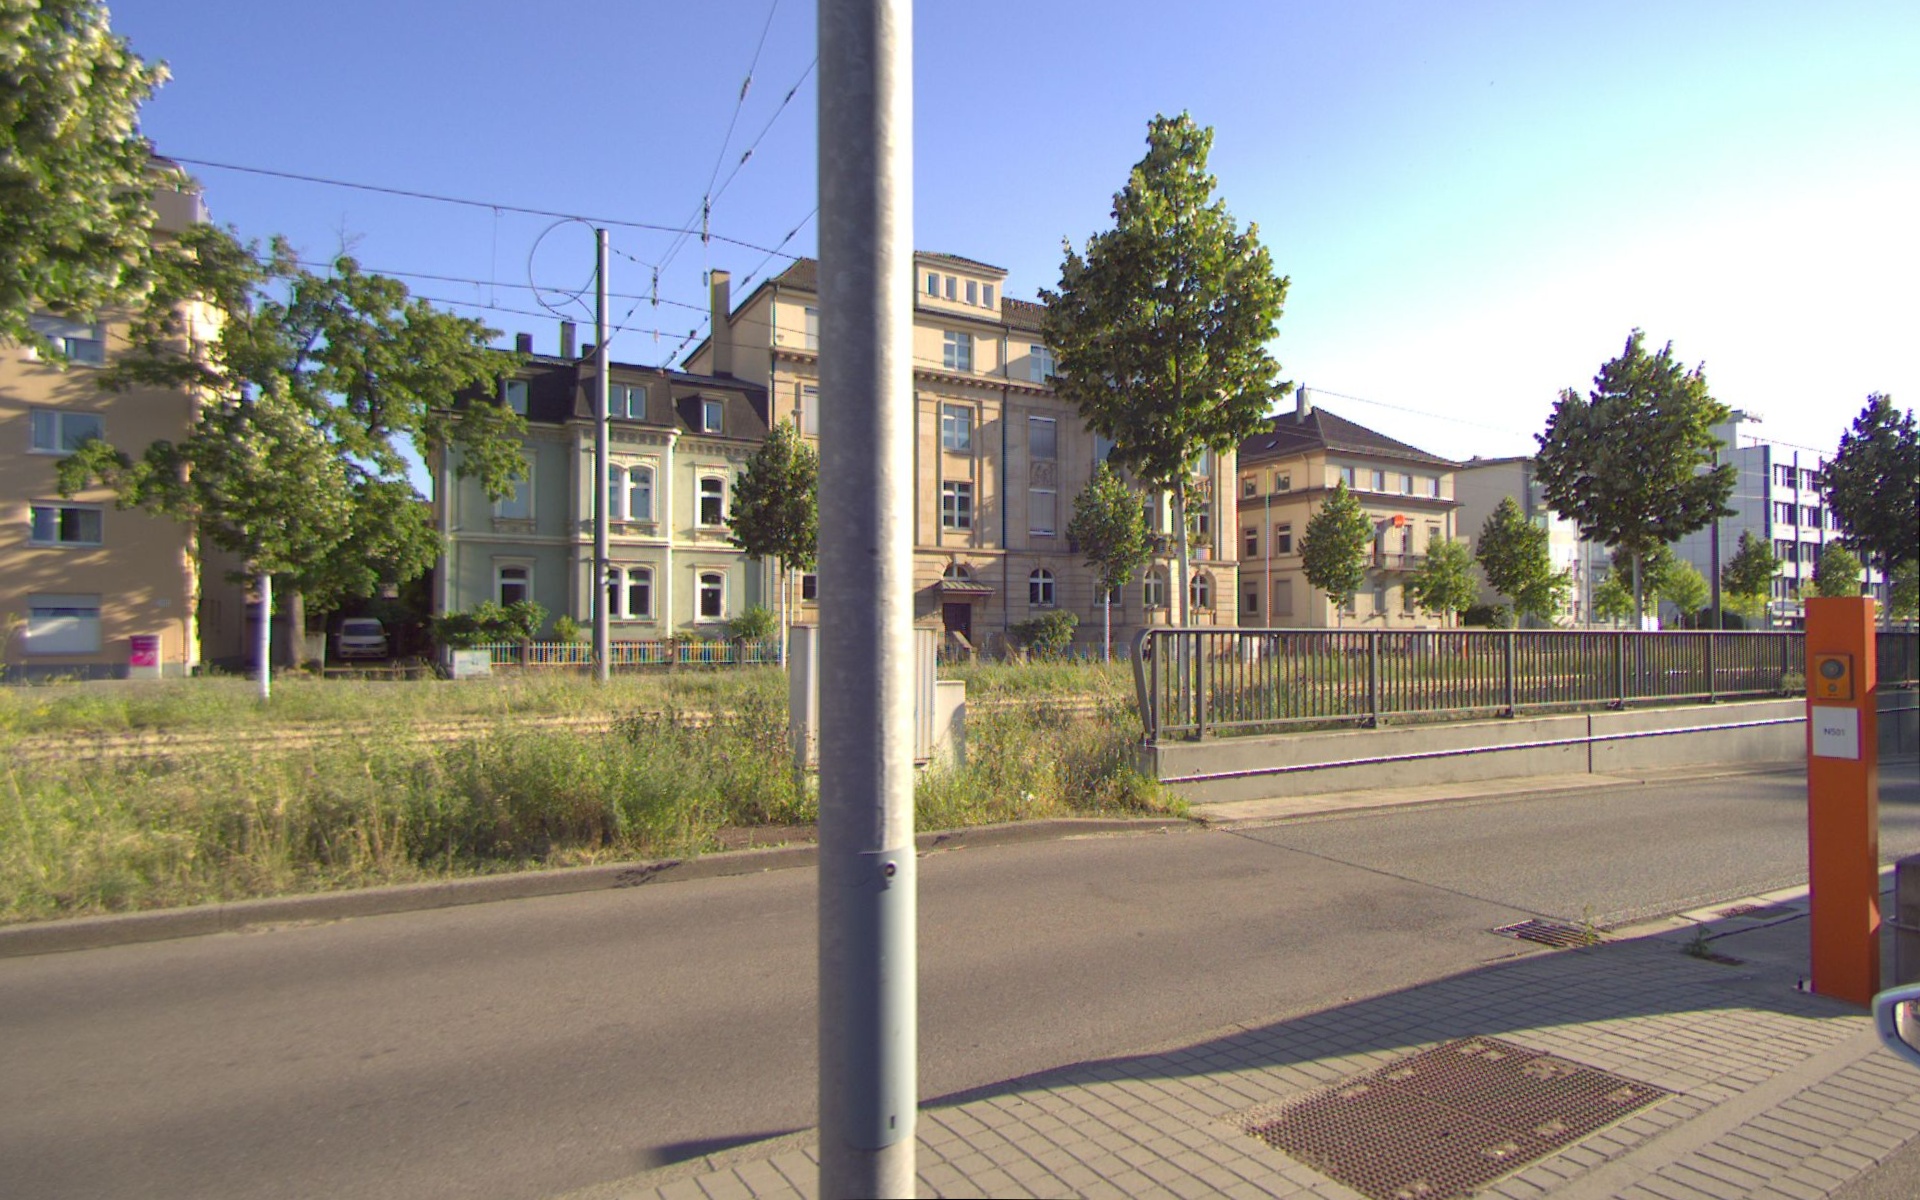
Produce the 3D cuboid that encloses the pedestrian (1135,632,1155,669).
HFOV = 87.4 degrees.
[{"bbox_3d":[8.744,2.369,47.485,0.645,1.743,0.653,1,-2,-30],"label":"pedestrian"}]

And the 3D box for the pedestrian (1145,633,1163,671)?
[{"bbox_3d":[9.053,2.409,46.856,0.645,1.743,0.553,1,-2,-30],"label":"pedestrian"}]

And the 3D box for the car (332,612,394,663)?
[{"bbox_3d":[-25.498,1.586,43.021,1.974,2.073,3.973,1,-2,-27],"label":"car"}]

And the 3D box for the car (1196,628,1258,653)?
[{"bbox_3d":[17.530,2.662,66.151,1.661,1.488,3.971,2,-1,-28],"label":"car"}]

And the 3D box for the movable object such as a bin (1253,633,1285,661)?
[{"bbox_3d":[16.264,2.462,52.935,1.067,1.447,1.200,0,-2,-30],"label":"movable object such as a bin"}]
